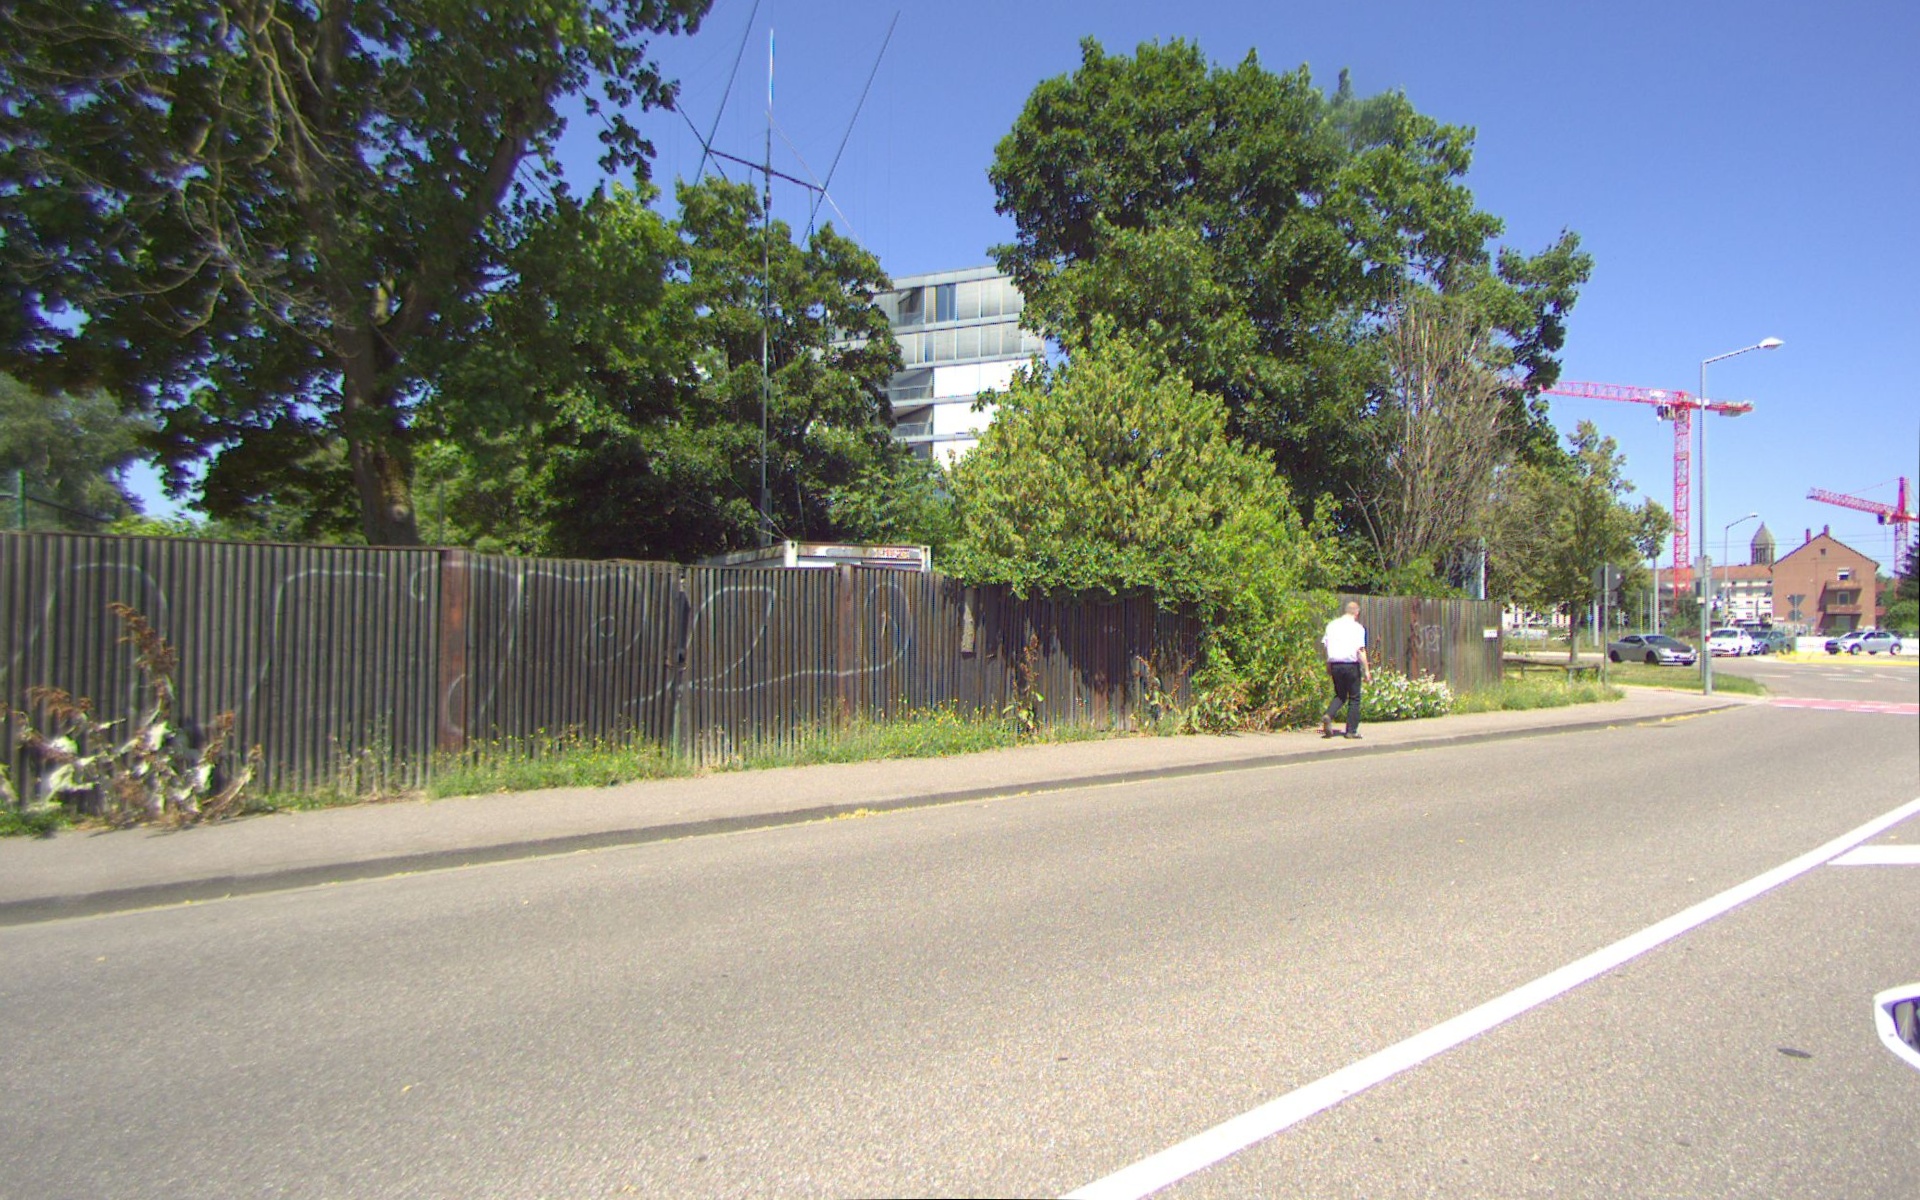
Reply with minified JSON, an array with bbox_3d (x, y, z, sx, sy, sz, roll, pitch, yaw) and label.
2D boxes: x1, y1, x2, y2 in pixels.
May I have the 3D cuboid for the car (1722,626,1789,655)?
[{"bbox_3d":[46.374,2.356,58.521,3.953,1.570,1.748,2,-1,-30],"label":"car"}]

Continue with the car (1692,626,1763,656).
[{"bbox_3d":[42.227,2.233,55.255,3.953,1.570,1.748,2,-1,-30],"label":"car"}]

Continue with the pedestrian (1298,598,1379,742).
[{"bbox_3d":[5.024,0.906,13.333,0.841,1.849,0.589,1,0,-29],"label":"pedestrian"}]

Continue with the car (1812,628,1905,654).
[{"bbox_3d":[55.601,2.521,62.209,4.136,1.520,1.713,1,-1,3],"label":"car"}]

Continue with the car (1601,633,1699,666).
[{"bbox_3d":[31.260,2.208,45.682,1.786,1.334,4.280,1,-1,5],"label":"car"}]
